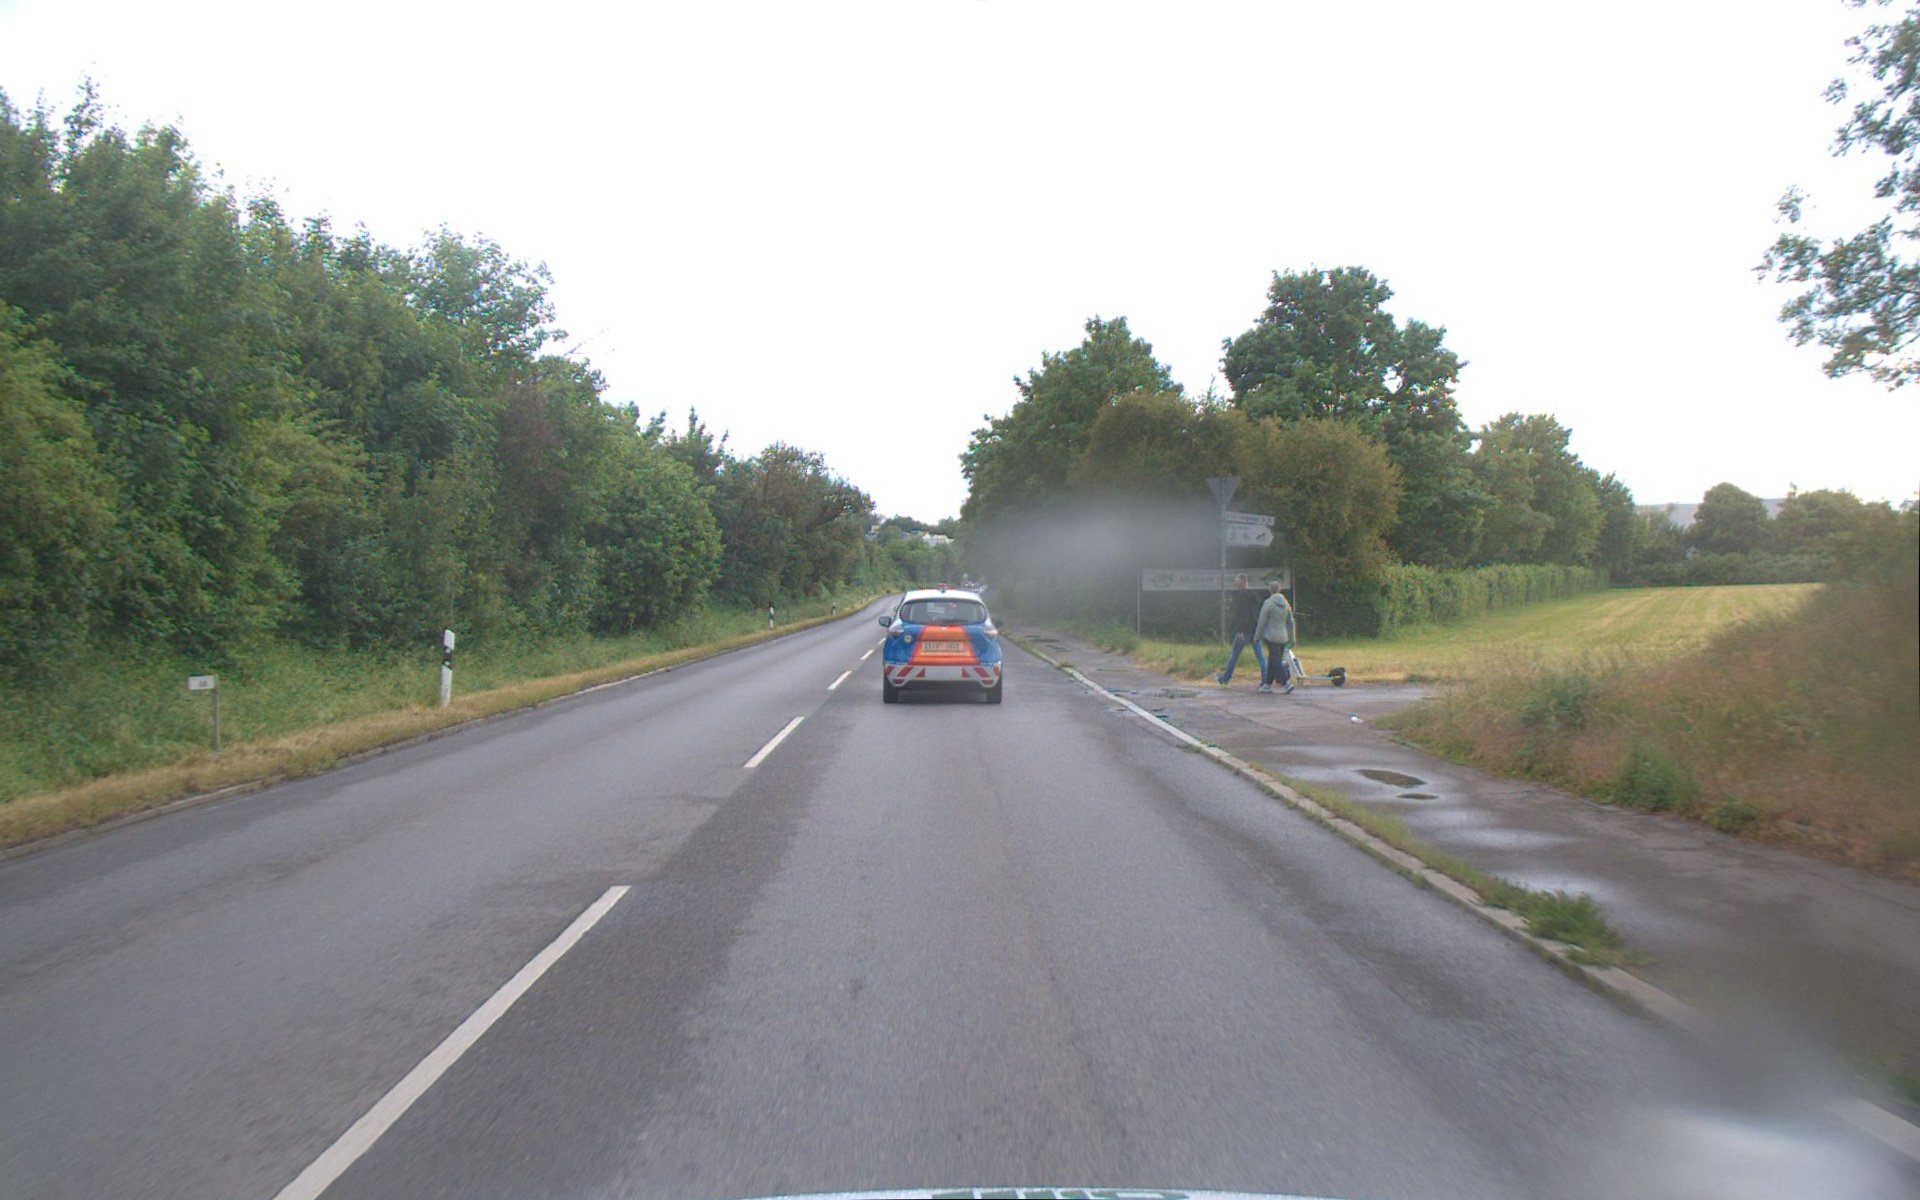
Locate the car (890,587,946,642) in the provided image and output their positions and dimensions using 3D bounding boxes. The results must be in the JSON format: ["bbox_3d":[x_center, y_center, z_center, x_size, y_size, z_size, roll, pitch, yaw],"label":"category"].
[{"bbox_3d":[-1.315,0.446,51.787,1.660,1.623,3.854,2,0,-2],"label":"car"}]

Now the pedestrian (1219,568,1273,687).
[{"bbox_3d":[4.557,0.432,26.368,0.679,1.859,0.801,-1,0,-1],"label":"pedestrian"}]

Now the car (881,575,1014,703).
[{"bbox_3d":[-0.213,0.530,24.385,1.769,1.697,3.855,2,0,-1],"label":"car"}]

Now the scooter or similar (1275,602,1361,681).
[{"bbox_3d":[5.708,0.653,26.390,1.303,1.227,0.372,-1,0,40],"label":"scooter or similar"}]

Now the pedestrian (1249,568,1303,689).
[{"bbox_3d":[4.832,0.428,25.314,0.647,1.809,0.760,-1,0,-1],"label":"pedestrian"}]
